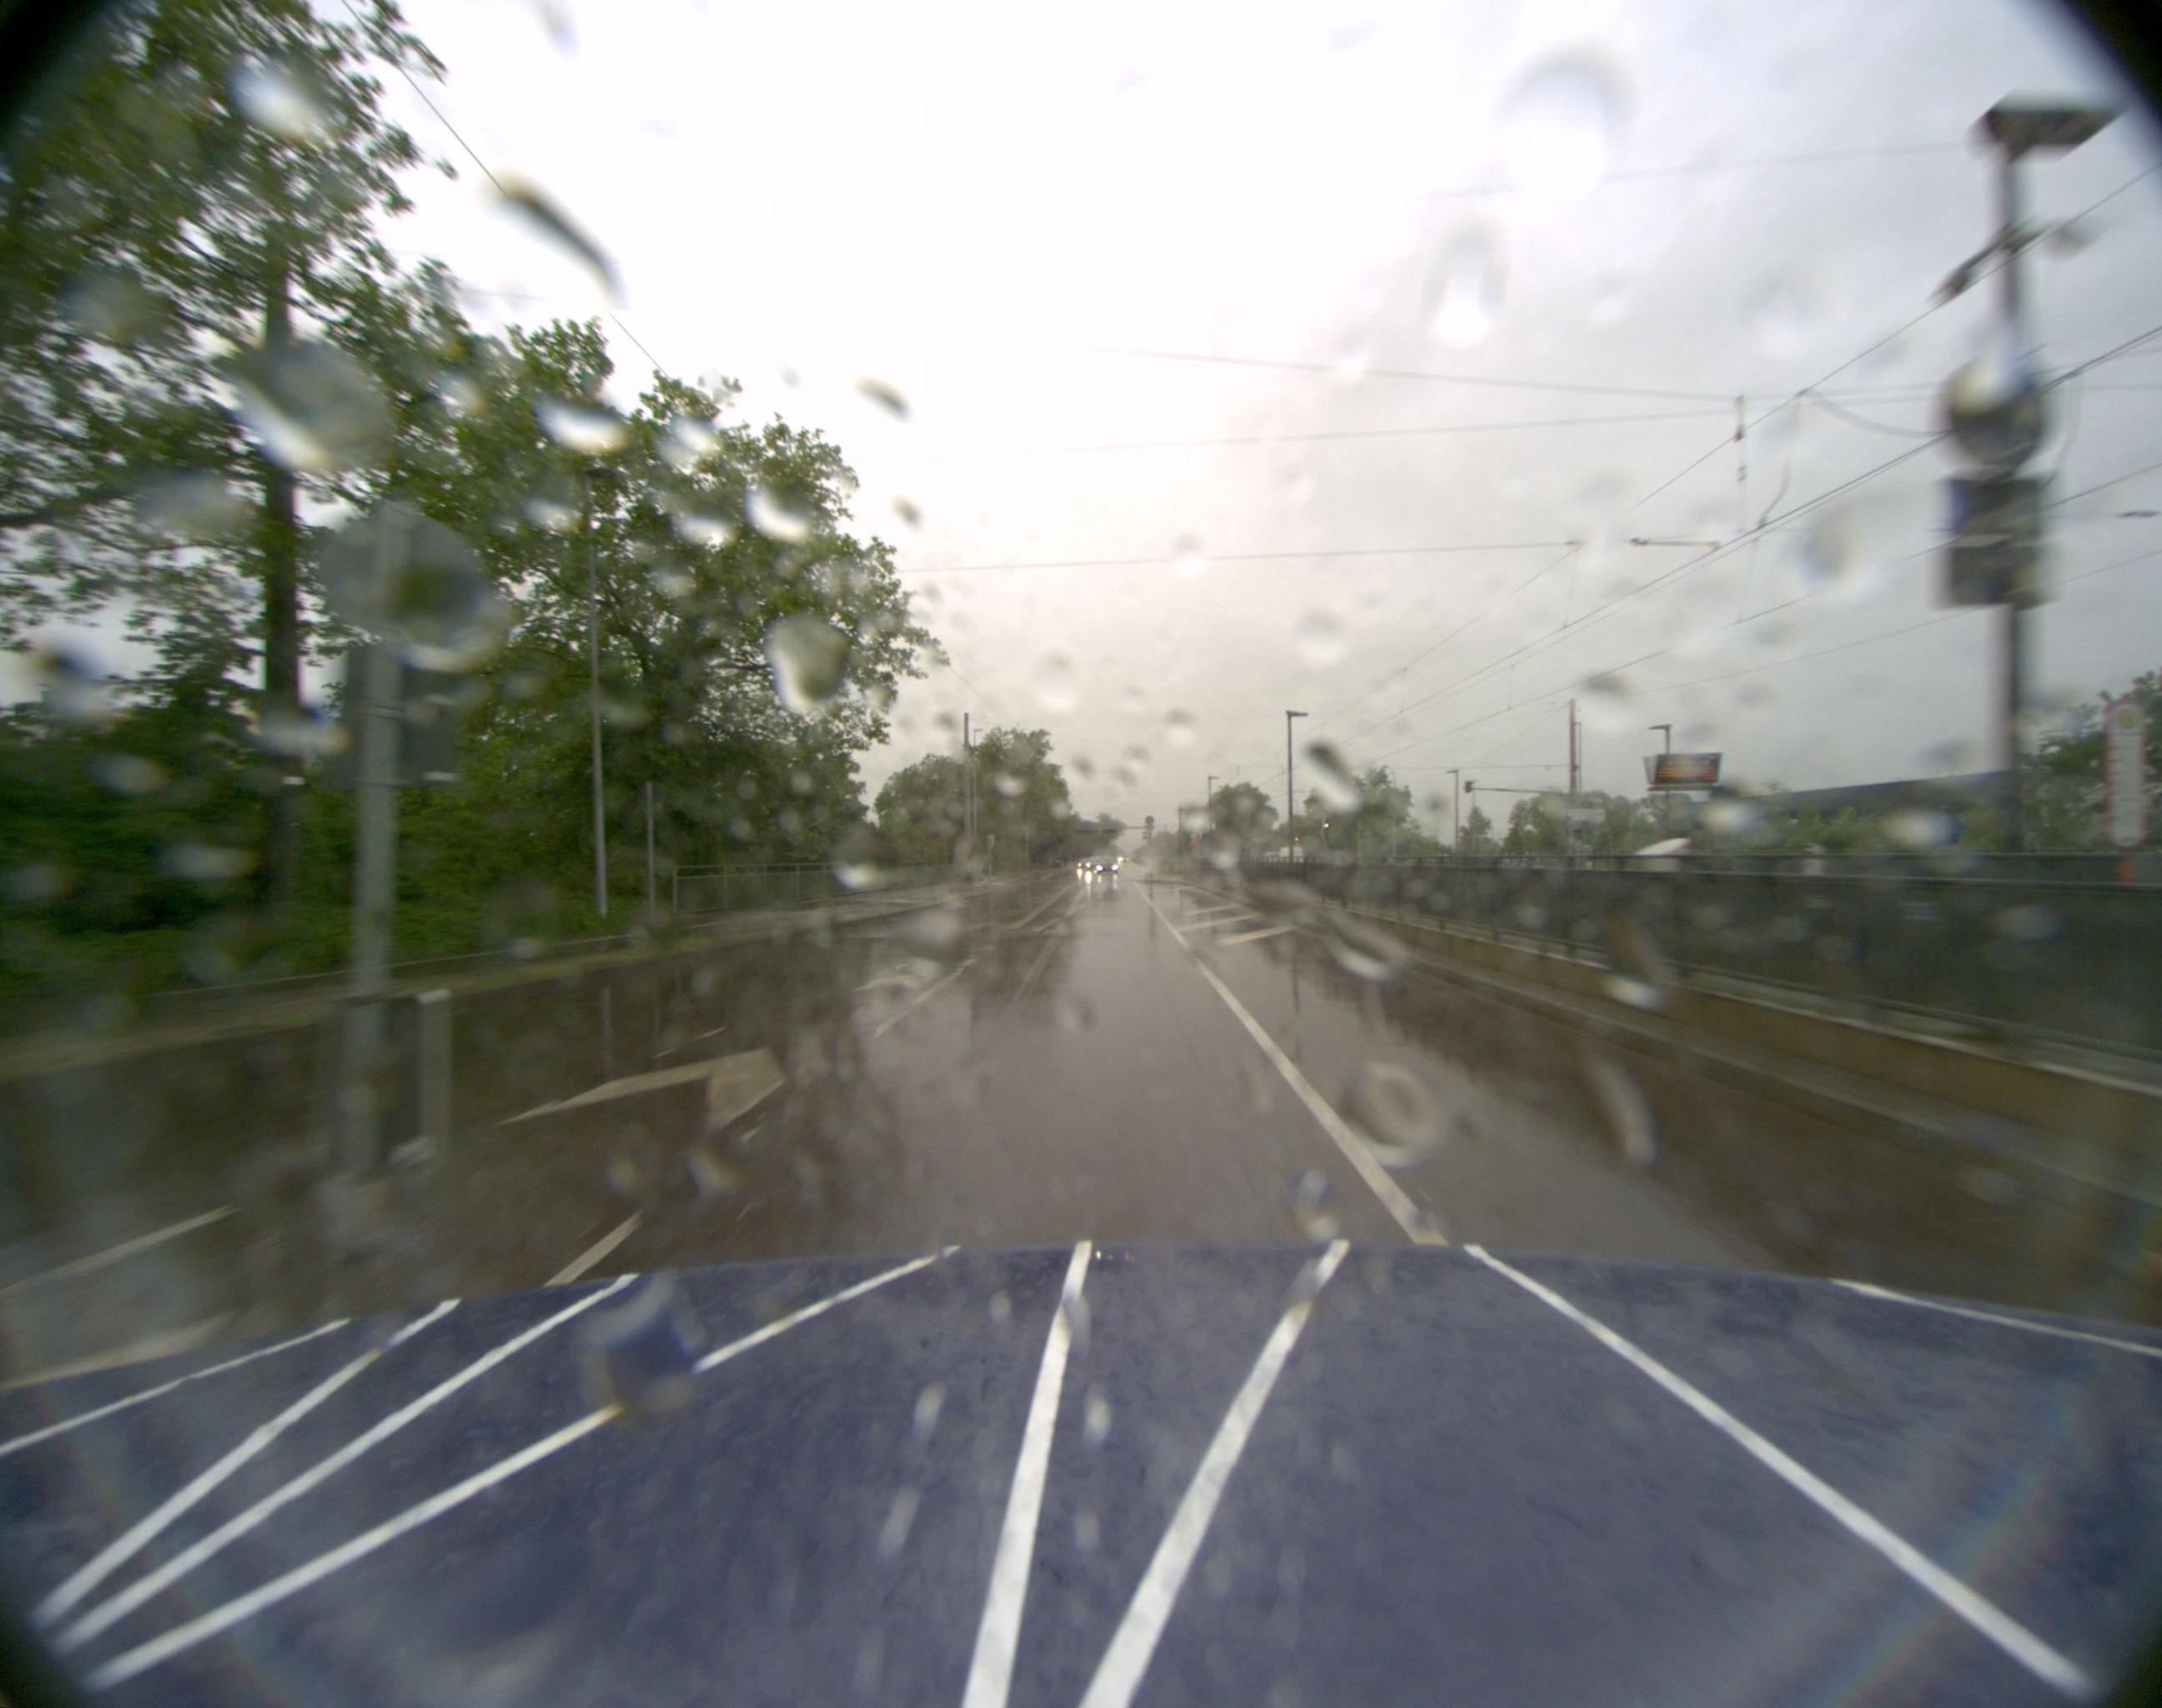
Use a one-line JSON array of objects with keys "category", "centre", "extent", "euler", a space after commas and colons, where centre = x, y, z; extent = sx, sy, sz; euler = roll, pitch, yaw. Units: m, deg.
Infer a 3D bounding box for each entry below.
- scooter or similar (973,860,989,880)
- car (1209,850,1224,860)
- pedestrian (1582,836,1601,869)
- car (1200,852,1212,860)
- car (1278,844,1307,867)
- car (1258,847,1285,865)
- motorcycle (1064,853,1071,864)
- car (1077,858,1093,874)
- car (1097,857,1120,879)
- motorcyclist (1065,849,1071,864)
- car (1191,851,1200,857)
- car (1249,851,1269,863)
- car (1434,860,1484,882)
[{"category": "scooter or similar", "centre": [-6.900, 1.074, 52.451], "extent": [0.761, 1.285, 1.647], "euler": [-2, 1, 5]}, {"category": "car", "centre": [23.830, 0.139, 133.565], "extent": [1.998, 1.761, 4.258], "euler": [-2, 0, 3]}, {"category": "pedestrian", "centre": [31.359, -0.094, 46.652], "extent": [0.700, 2.002, 0.697], "euler": [-1, 1, 3]}, {"category": "car", "centre": [25.173, 0.392, 153.062], "extent": [1.998, 1.586, 4.382], "euler": [2, 0, 3]}, {"category": "car", "centre": [25.902, 0.147, 93.345], "extent": [2.125, 2.697, 5.739], "euler": [-2, 0, 3]}, {"category": "car", "centre": [21.693, 0.237, 86.734], "extent": [1.998, 2.002, 4.754], "euler": [-2, 0, 2]}, {"category": "motorcycle", "centre": [-1.935, 0.648, 111.751], "extent": [0.845, 1.710, 2.586], "euler": [-2, 0, 3]}, {"category": "car", "centre": [0.516, 1.646, 103.464], "extent": [1.999, 2.002, 3.999], "euler": [-1, 0, -1]}, {"category": "car", "centre": [2.634, 1.286, 72.173], "extent": [1.998, 2.002, 4.001], "euler": [-1, 0, 3]}, {"category": "motorcyclist", "centre": [-1.944, 0.370, 111.744], "extent": [0.762, 2.246, 0.916], "euler": [-2, 1, 3]}, {"category": "car", "centre": [28.538, -0.011, 189.455], "extent": [1.605, 1.580, 3.619], "euler": [-2, 1, 3]}, {"category": "car", "centre": [26.067, 0.392, 111.462], "extent": [1.998, 1.697, 4.625], "euler": [-2, 0, 3]}, {"category": "car", "centre": [35.000, 1.593, 70.379], "extent": [3.991, 1.849, 2.003], "euler": [-2, 0, 23]}]
